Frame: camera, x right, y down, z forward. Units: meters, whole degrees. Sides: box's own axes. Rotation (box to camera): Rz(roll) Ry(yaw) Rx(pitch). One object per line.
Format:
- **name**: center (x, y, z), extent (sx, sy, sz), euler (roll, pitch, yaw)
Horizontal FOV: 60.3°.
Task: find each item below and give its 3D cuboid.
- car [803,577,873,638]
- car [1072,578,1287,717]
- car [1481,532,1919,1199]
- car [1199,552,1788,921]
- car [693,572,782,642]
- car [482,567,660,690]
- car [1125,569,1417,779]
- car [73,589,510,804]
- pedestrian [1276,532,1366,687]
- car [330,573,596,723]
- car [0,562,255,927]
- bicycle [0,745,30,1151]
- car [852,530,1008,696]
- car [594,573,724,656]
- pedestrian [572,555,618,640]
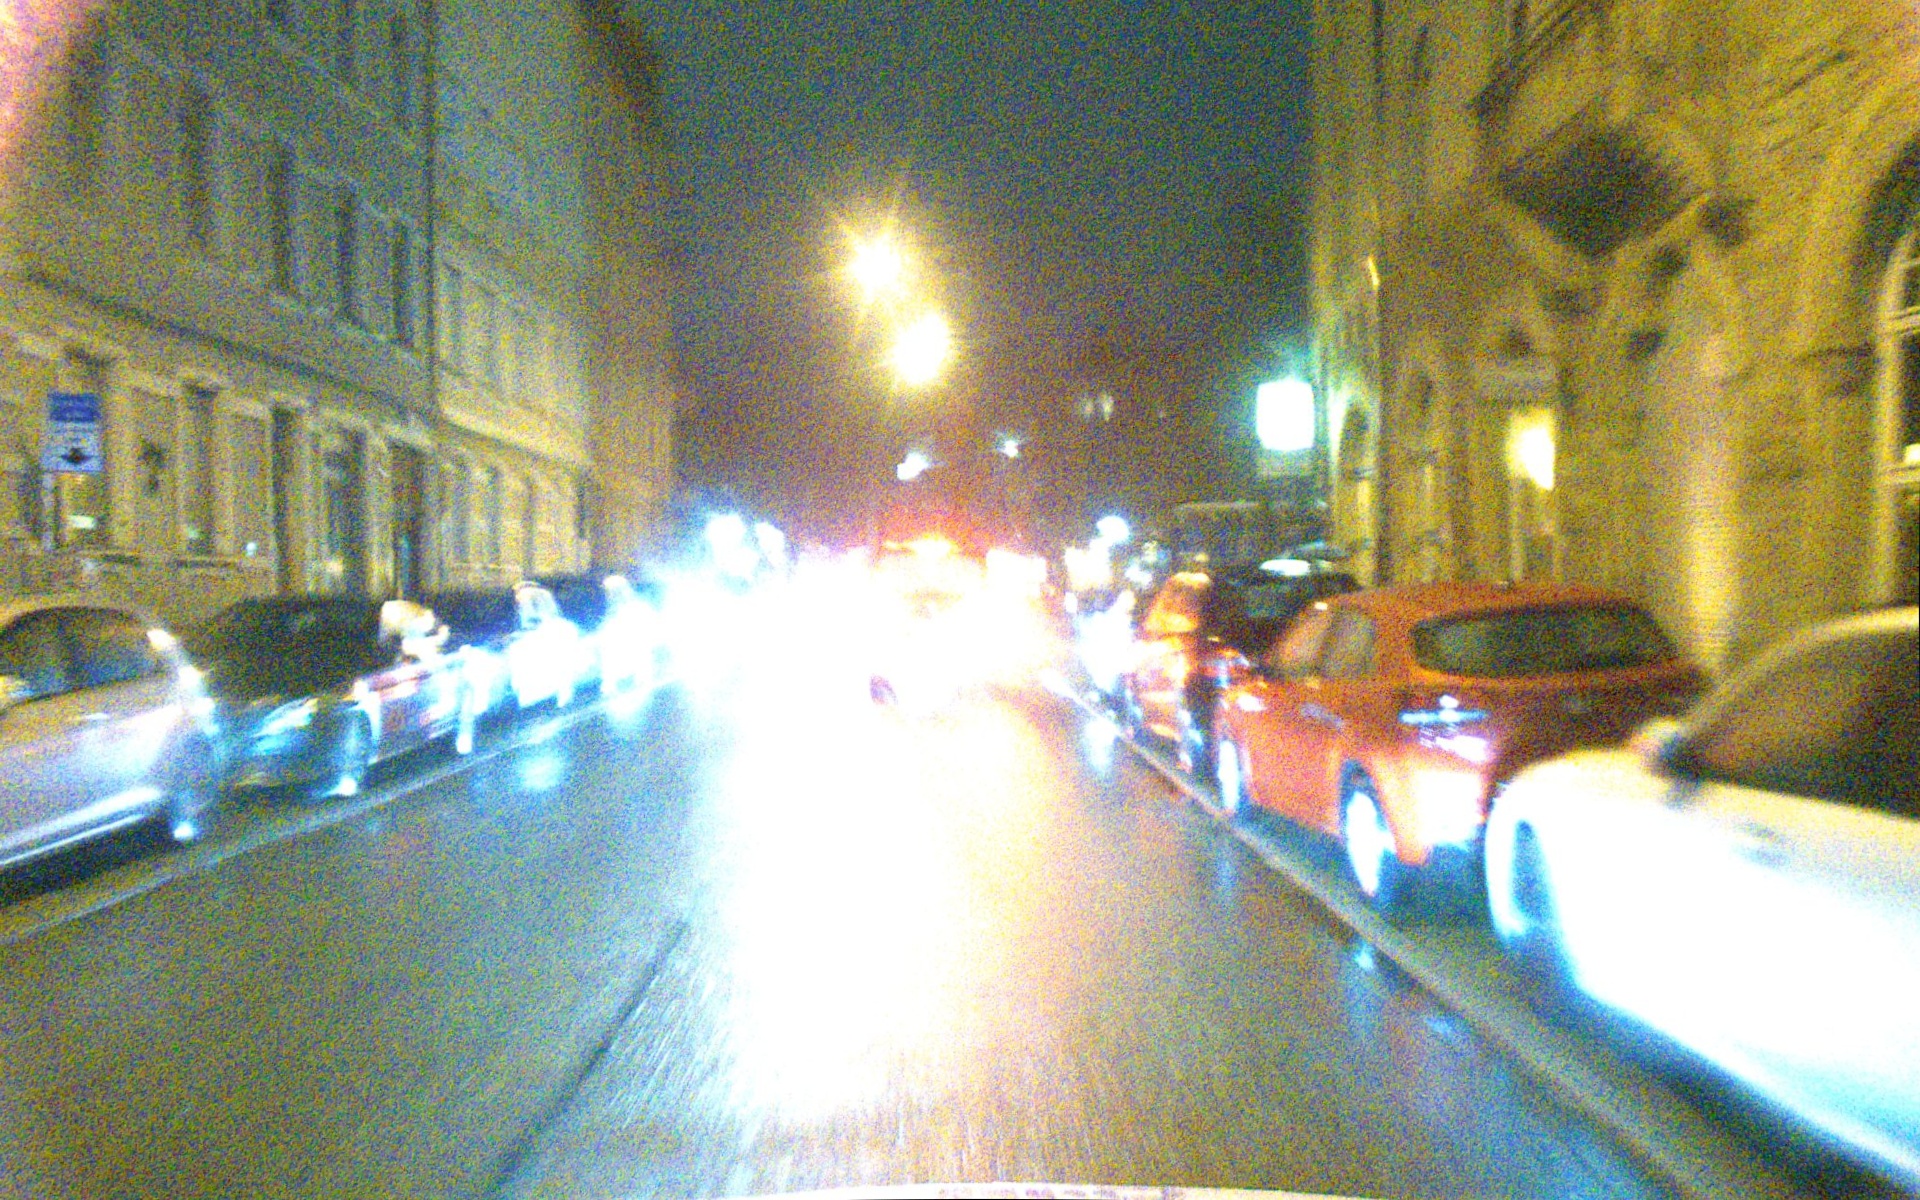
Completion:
- **car**: center (-3.591, 0.171, 49.307), extent (1.882, 1.646, 4.573), euler (-2, 1, -2)
- **car**: center (2.464, 0.478, 19.553), extent (1.879, 1.436, 3.999), euler (-1, 1, -2)
- **car**: center (2.980, 0.585, 4.036), extent (1.953, 1.489, 4.416), euler (-1, 1, -1)
- **car**: center (2.556, 0.552, 8.948), extent (1.656, 1.524, 3.887), euler (-1, 1, -5)
- **car**: center (-5.824, 0.160, 43.703), extent (1.795, 1.747, 4.594), euler (0, 1, -1)
- **car**: center (-5.460, 0.358, 23.667), extent (1.710, 1.616, 3.765), euler (0, 1, -1)
- **car**: center (2.498, 0.526, 14.163), extent (1.655, 1.524, 3.890), euler (-1, 1, -2)
- **car**: center (-5.107, 0.634, 13.367), extent (1.785, 1.414, 4.425), euler (-1, 1, -1)
- **pedestrian**: center (4.411, 0.094, 20.273), extent (0.844, 1.819, 1.083), euler (-2, 1, 2)
- **car**: center (-5.512, 0.461, 18.916), extent (1.795, 1.507, 4.306), euler (0, 1, -1)
- **car**: center (-5.097, 0.637, 7.891), extent (1.738, 1.599, 4.134), euler (-1, 1, -1)
- **bicycle**: center (-2.958, 0.971, 3.455), extent (0.712, 1.091, 2.348), euler (-1, 0, -1)
- **car**: center (-0.401, 0.134, 23.268), extent (1.955, 2.084, 4.694), euler (0, 1, -1)
- **car**: center (-5.856, 0.237, 32.680), extent (1.795, 1.512, 4.594), euler (0, 1, -1)
- **pedestrian**: center (-8.127, -0.056, 36.826), extent (0.727, 1.836, 0.987), euler (2, 0, 2)
